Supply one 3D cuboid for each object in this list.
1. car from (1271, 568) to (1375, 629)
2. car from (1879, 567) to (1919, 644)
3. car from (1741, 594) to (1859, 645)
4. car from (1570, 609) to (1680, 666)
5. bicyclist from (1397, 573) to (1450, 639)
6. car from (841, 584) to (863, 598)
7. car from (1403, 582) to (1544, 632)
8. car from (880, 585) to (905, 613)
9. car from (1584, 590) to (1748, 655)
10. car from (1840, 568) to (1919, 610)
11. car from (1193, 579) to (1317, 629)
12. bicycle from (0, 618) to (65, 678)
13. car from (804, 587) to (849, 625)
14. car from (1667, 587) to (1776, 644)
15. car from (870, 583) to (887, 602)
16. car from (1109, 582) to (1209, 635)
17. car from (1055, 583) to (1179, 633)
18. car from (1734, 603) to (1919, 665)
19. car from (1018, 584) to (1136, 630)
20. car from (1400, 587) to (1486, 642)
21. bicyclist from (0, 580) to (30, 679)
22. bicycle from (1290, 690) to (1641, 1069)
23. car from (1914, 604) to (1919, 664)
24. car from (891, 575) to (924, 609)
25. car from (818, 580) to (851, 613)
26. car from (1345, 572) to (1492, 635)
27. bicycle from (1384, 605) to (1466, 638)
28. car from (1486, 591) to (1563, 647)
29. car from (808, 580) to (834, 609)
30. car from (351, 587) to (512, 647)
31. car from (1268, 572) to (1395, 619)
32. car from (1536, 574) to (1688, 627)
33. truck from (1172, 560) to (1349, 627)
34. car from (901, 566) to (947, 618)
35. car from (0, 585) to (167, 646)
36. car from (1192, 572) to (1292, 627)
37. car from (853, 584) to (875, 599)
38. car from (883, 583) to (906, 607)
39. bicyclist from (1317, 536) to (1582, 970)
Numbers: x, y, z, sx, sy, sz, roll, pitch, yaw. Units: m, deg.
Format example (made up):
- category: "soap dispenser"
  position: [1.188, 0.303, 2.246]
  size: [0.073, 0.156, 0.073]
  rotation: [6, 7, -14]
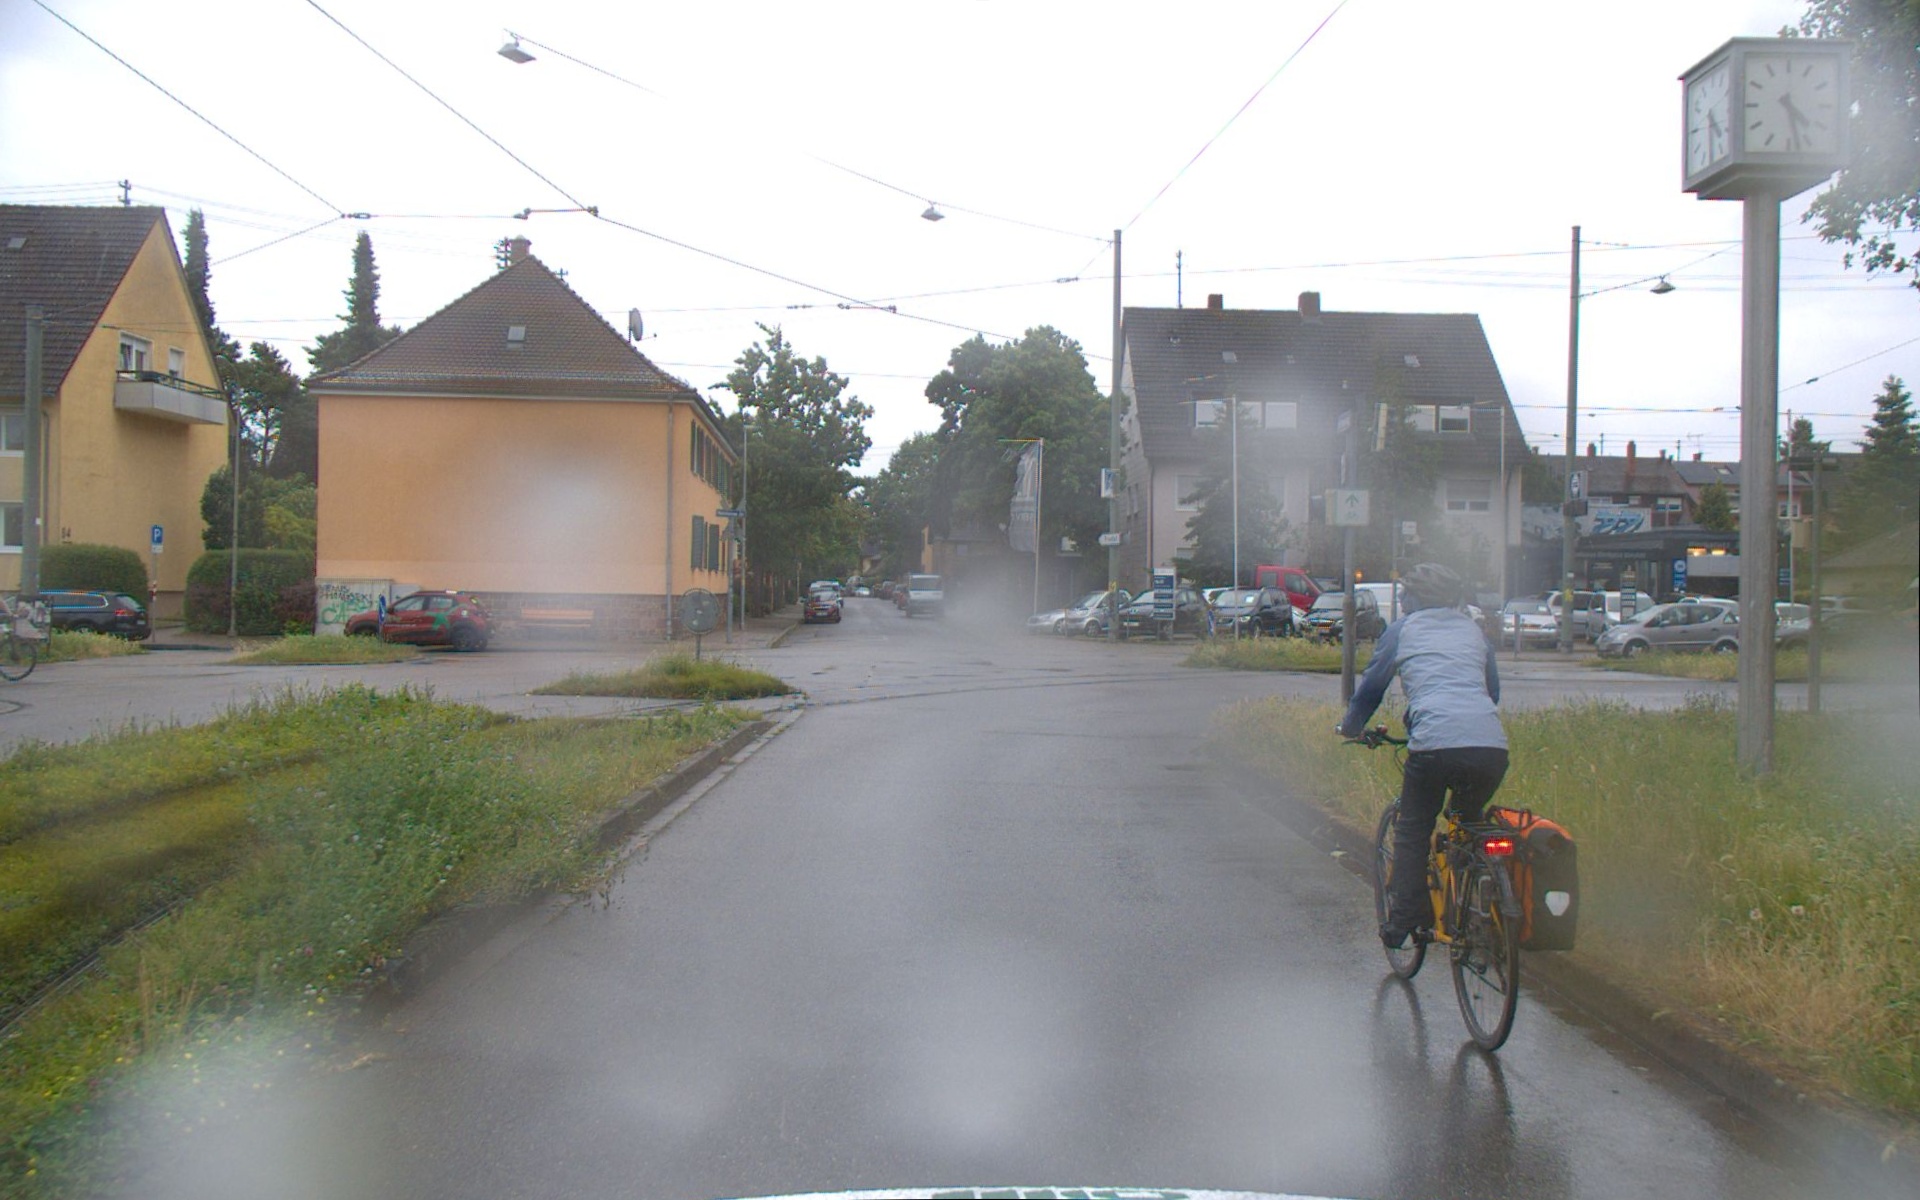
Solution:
- category: "car"
  position: [11.041, -0.045, 50.107]
  size: [1.957, 1.747, 3.992]
  rotation: [0, 0, 30]
- category: "car"
  position: [31.682, 0.223, 52.370]
  size: [2.102, 2.448, 5.147]
  rotation: [2, 0, -2]
- category: "car"
  position: [25.615, 0.576, 50.548]
  size: [1.682, 1.420, 3.843]
  rotation: [3, 0, 1]
- category: "car"
  position: [20.046, 1.094, 50.031]
  size: [1.765, 1.606, 3.871]
  rotation: [0, 0, 0]
- category: "bicyclist"
  position: [11.616, 0.136, 41.476]
  size: [1.018, 1.626, 0.949]
  rotation: [0, 0, -3]
- category: "car"
  position: [-13.962, -1.157, 212.939]
  size: [1.800, 1.726, 4.011]
  rotation: [2, 0, -18]
- category: "car"
  position: [18.054, 0.239, 58.302]
  size: [4.341, 1.717, 2.000]
  rotation: [0, -1, 0]
- category: "car"
  position: [-5.103, -0.082, 125.012]
  size: [1.792, 2.049, 3.998]
  rotation: [2, 0, -3]
- category: "car"
  position: [18.587, 0.579, 43.629]
  size: [3.560, 1.530, 1.722]
  rotation: [3, 0, -4]
- category: "car"
  position: [37.988, -0.425, 67.068]
  size: [4.374, 1.608, 1.781]
  rotation: [1, -1, -24]
- category: "car"
  position: [9.978, 0.144, 55.833]
  size: [3.883, 1.626, 2.001]
  rotation: [0, -1, 18]
- category: "bicycle"
  position: [-15.736, 0.767, 26.844]
  size: [1.940, 0.928, 0.823]
  rotation: [1, -1, -5]
- category: "car"
  position: [-6.004, 0.253, 74.769]
  size: [1.954, 1.646, 3.997]
  rotation: [1, 0, -4]
- category: "car"
  position: [23.137, 0.458, 50.407]
  size: [1.682, 1.600, 3.618]
  rotation: [3, 0, 2]
- category: "car"
  position: [-9.368, -0.828, 189.388]
  size: [1.792, 2.049, 3.997]
  rotation: [2, 0, -4]
- category: "car"
  position: [6.285, 0.244, 51.923]
  size: [1.768, 1.606, 3.864]
  rotation: [0, 0, 30]
- category: "car"
  position: [5.267, 0.246, 55.560]
  size: [3.809, 1.606, 1.794]
  rotation: [0, 0, -25]
- category: "car"
  position: [23.104, 0.896, 43.887]
  size: [4.286, 1.362, 1.722]
  rotation: [3, 0, -2]
- category: "car"
  position: [4.152, 0.236, 58.721]
  size: [3.805, 1.606, 1.796]
  rotation: [0, 0, -22]
- category: "car"
  position: [14.658, 0.453, 50.093]
  size: [1.792, 1.530, 4.054]
  rotation: [3, 0, 26]
- category: "bicyclist"
  position: [-15.789, 0.461, 26.847]
  size: [0.893, 1.585, 0.833]
  rotation: [1, -1, -5]
- category: "bicycle"
  position: [1.814, 0.949, 6.269]
  size: [0.737, 1.091, 1.927]
  rotation: [-1, 0, 0]
- category: "car"
  position: [26.071, 0.871, 40.867]
  size: [3.908, 1.502, 1.999]
  rotation: [0, 0, -4]
- category: "car"
  position: [-3.335, -0.521, 104.350]
  size: [1.953, 2.049, 3.998]
  rotation: [3, 0, -2]
- category: "car"
  position: [-8.271, -0.234, 109.065]
  size: [1.953, 2.049, 3.998]
  rotation: [3, 0, -2]
- category: "car"
  position: [15.154, 0.117, 54.828]
  size: [4.341, 2.049, 2.000]
  rotation: [0, -1, 0]
- category: "bicycle"
  position: [11.653, 0.528, 41.487]
  size: [1.778, 0.800, 0.942]
  rotation: [0, 0, -4]
- category: "car"
  position: [17.015, 0.552, 49.996]
  size: [1.789, 1.530, 4.061]
  rotation: [3, 0, 14]
- category: "car"
  position: [-10.526, -0.421, 125.385]
  size: [1.792, 2.049, 3.997]
  rotation: [2, 0, -4]
- category: "car"
  position: [-13.425, 0.419, 42.138]
  size: [3.535, 1.362, 1.721]
  rotation: [3, 0, -5]
- category: "car"
  position: [13.861, -0.164, 61.864]
  size: [4.341, 1.717, 2.000]
  rotation: [0, -1, 0]
- category: "car"
  position: [21.479, 0.029, 54.598]
  size: [4.341, 1.717, 1.760]
  rotation: [0, -1, 0]
- category: "truck"
  position: [10.655, -0.223, 58.629]
  size: [5.955, 2.312, 2.001]
  rotation: [0, -1, 18]
- category: "car"
  position: [-1.921, -0.422, 87.079]
  size: [2.111, 2.617, 4.130]
  rotation: [2, 0, -4]
- category: "car"
  position: [-22.376, 0.364, 41.045]
  size: [4.402, 1.420, 1.966]
  rotation: [1, 0, -4]
- category: "car"
  position: [8.659, -0.021, 50.591]
  size: [1.768, 1.606, 3.864]
  rotation: [0, 0, 30]
- category: "car"
  position: [-12.040, -1.042, 207.579]
  size: [1.800, 1.726, 4.011]
  rotation: [2, 0, -18]
- category: "car"
  position: [-5.762, -0.437, 144.123]
  size: [1.792, 2.049, 3.997]
  rotation: [2, 0, -4]
- category: "bicyclist"
  position: [1.807, 0.534, 6.221]
  size: [0.735, 1.511, 0.846]
  rotation: [-1, 0, 0]
